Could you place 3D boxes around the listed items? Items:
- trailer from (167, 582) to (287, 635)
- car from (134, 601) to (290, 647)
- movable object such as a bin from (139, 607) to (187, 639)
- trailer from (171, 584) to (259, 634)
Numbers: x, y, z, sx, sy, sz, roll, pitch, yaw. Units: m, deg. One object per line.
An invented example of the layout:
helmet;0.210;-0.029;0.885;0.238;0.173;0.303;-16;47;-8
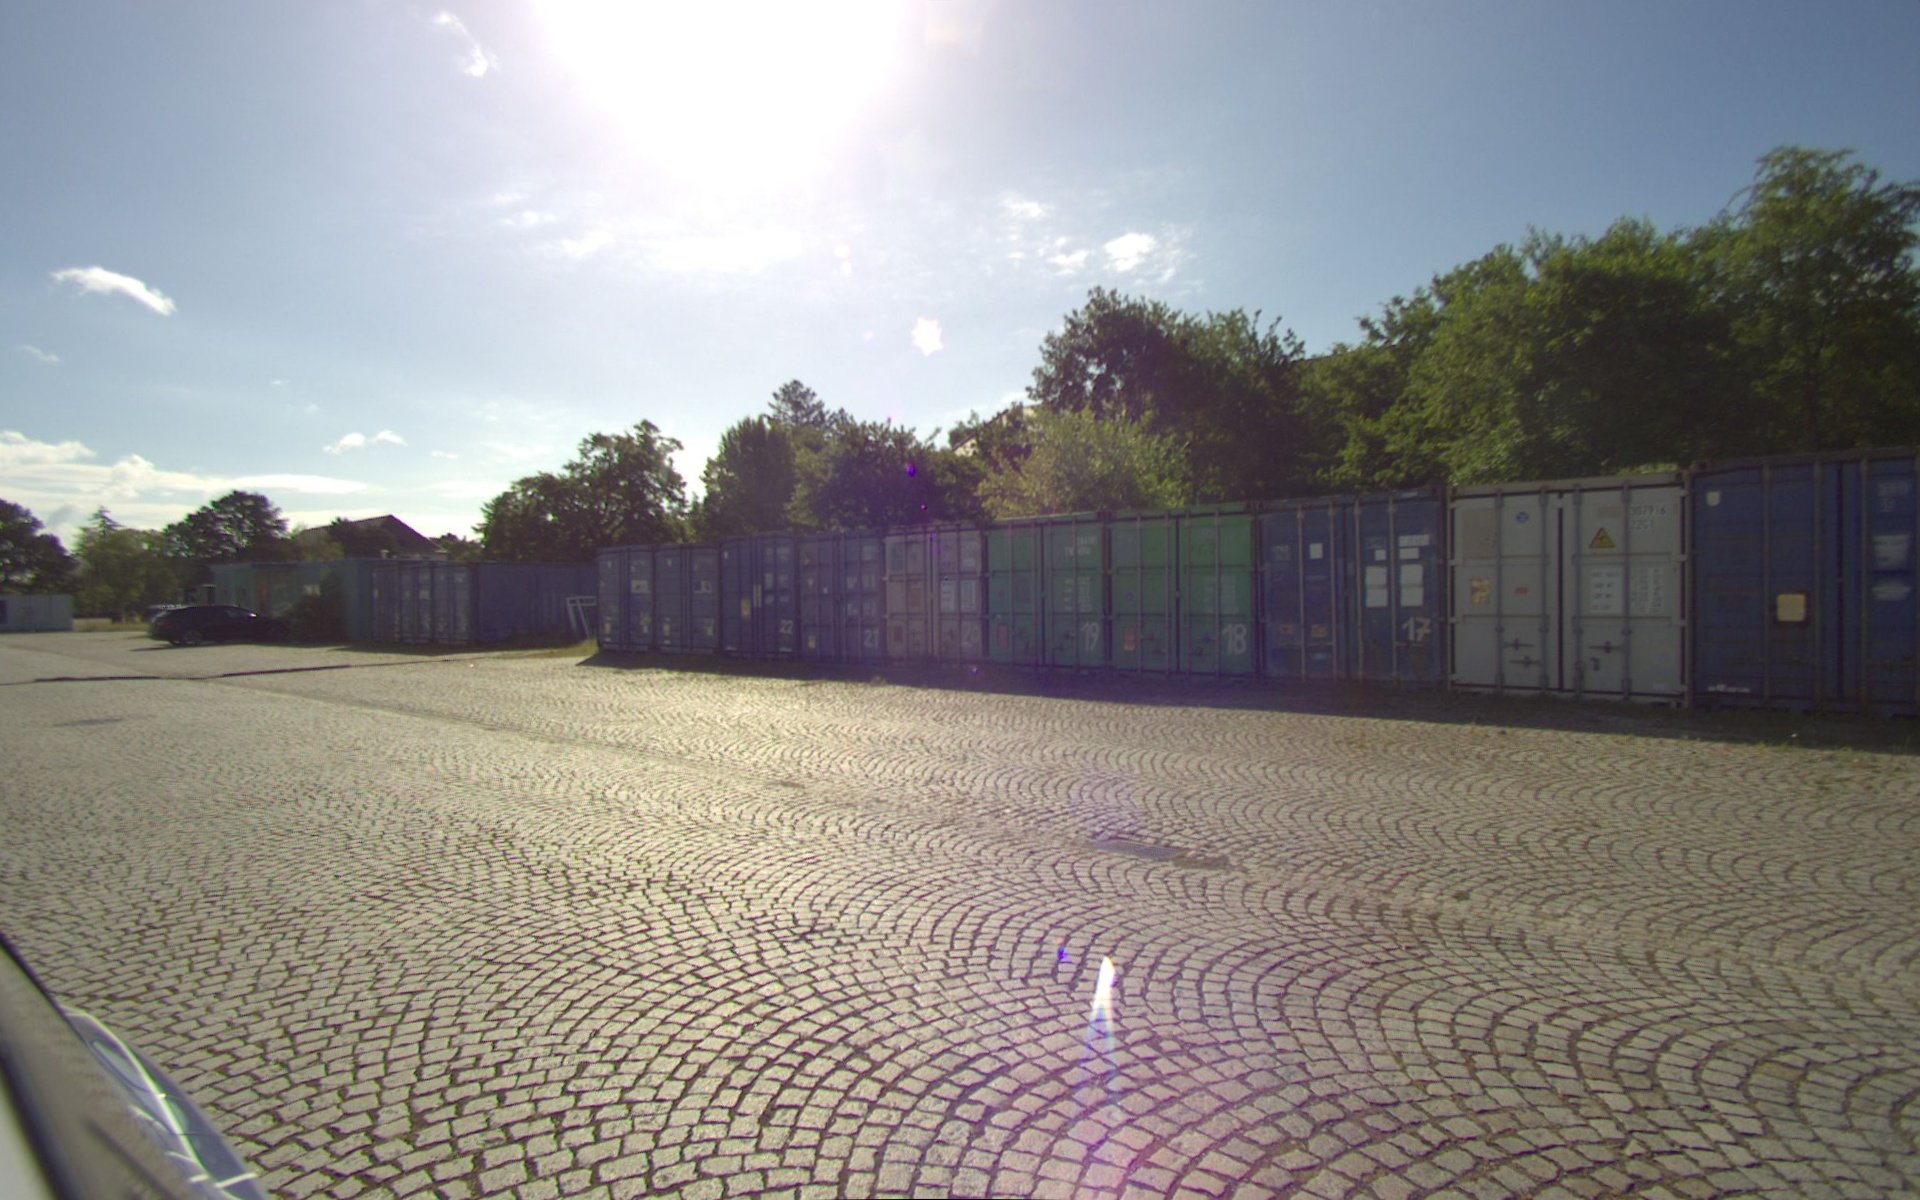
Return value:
trailer;-37.508;0.380;51.860;1.948;2.587;4.594;0;1;36
car;-27.196;0.823;36.915;1.929;1.460;4.210;0;1;39
movable object such as a bin;-38.491;1.086;48.912;1.416;1.469;1.158;-1;1;-6
trailer;-39.338;0.448;53.488;2.044;2.488;3.349;0;1;41
